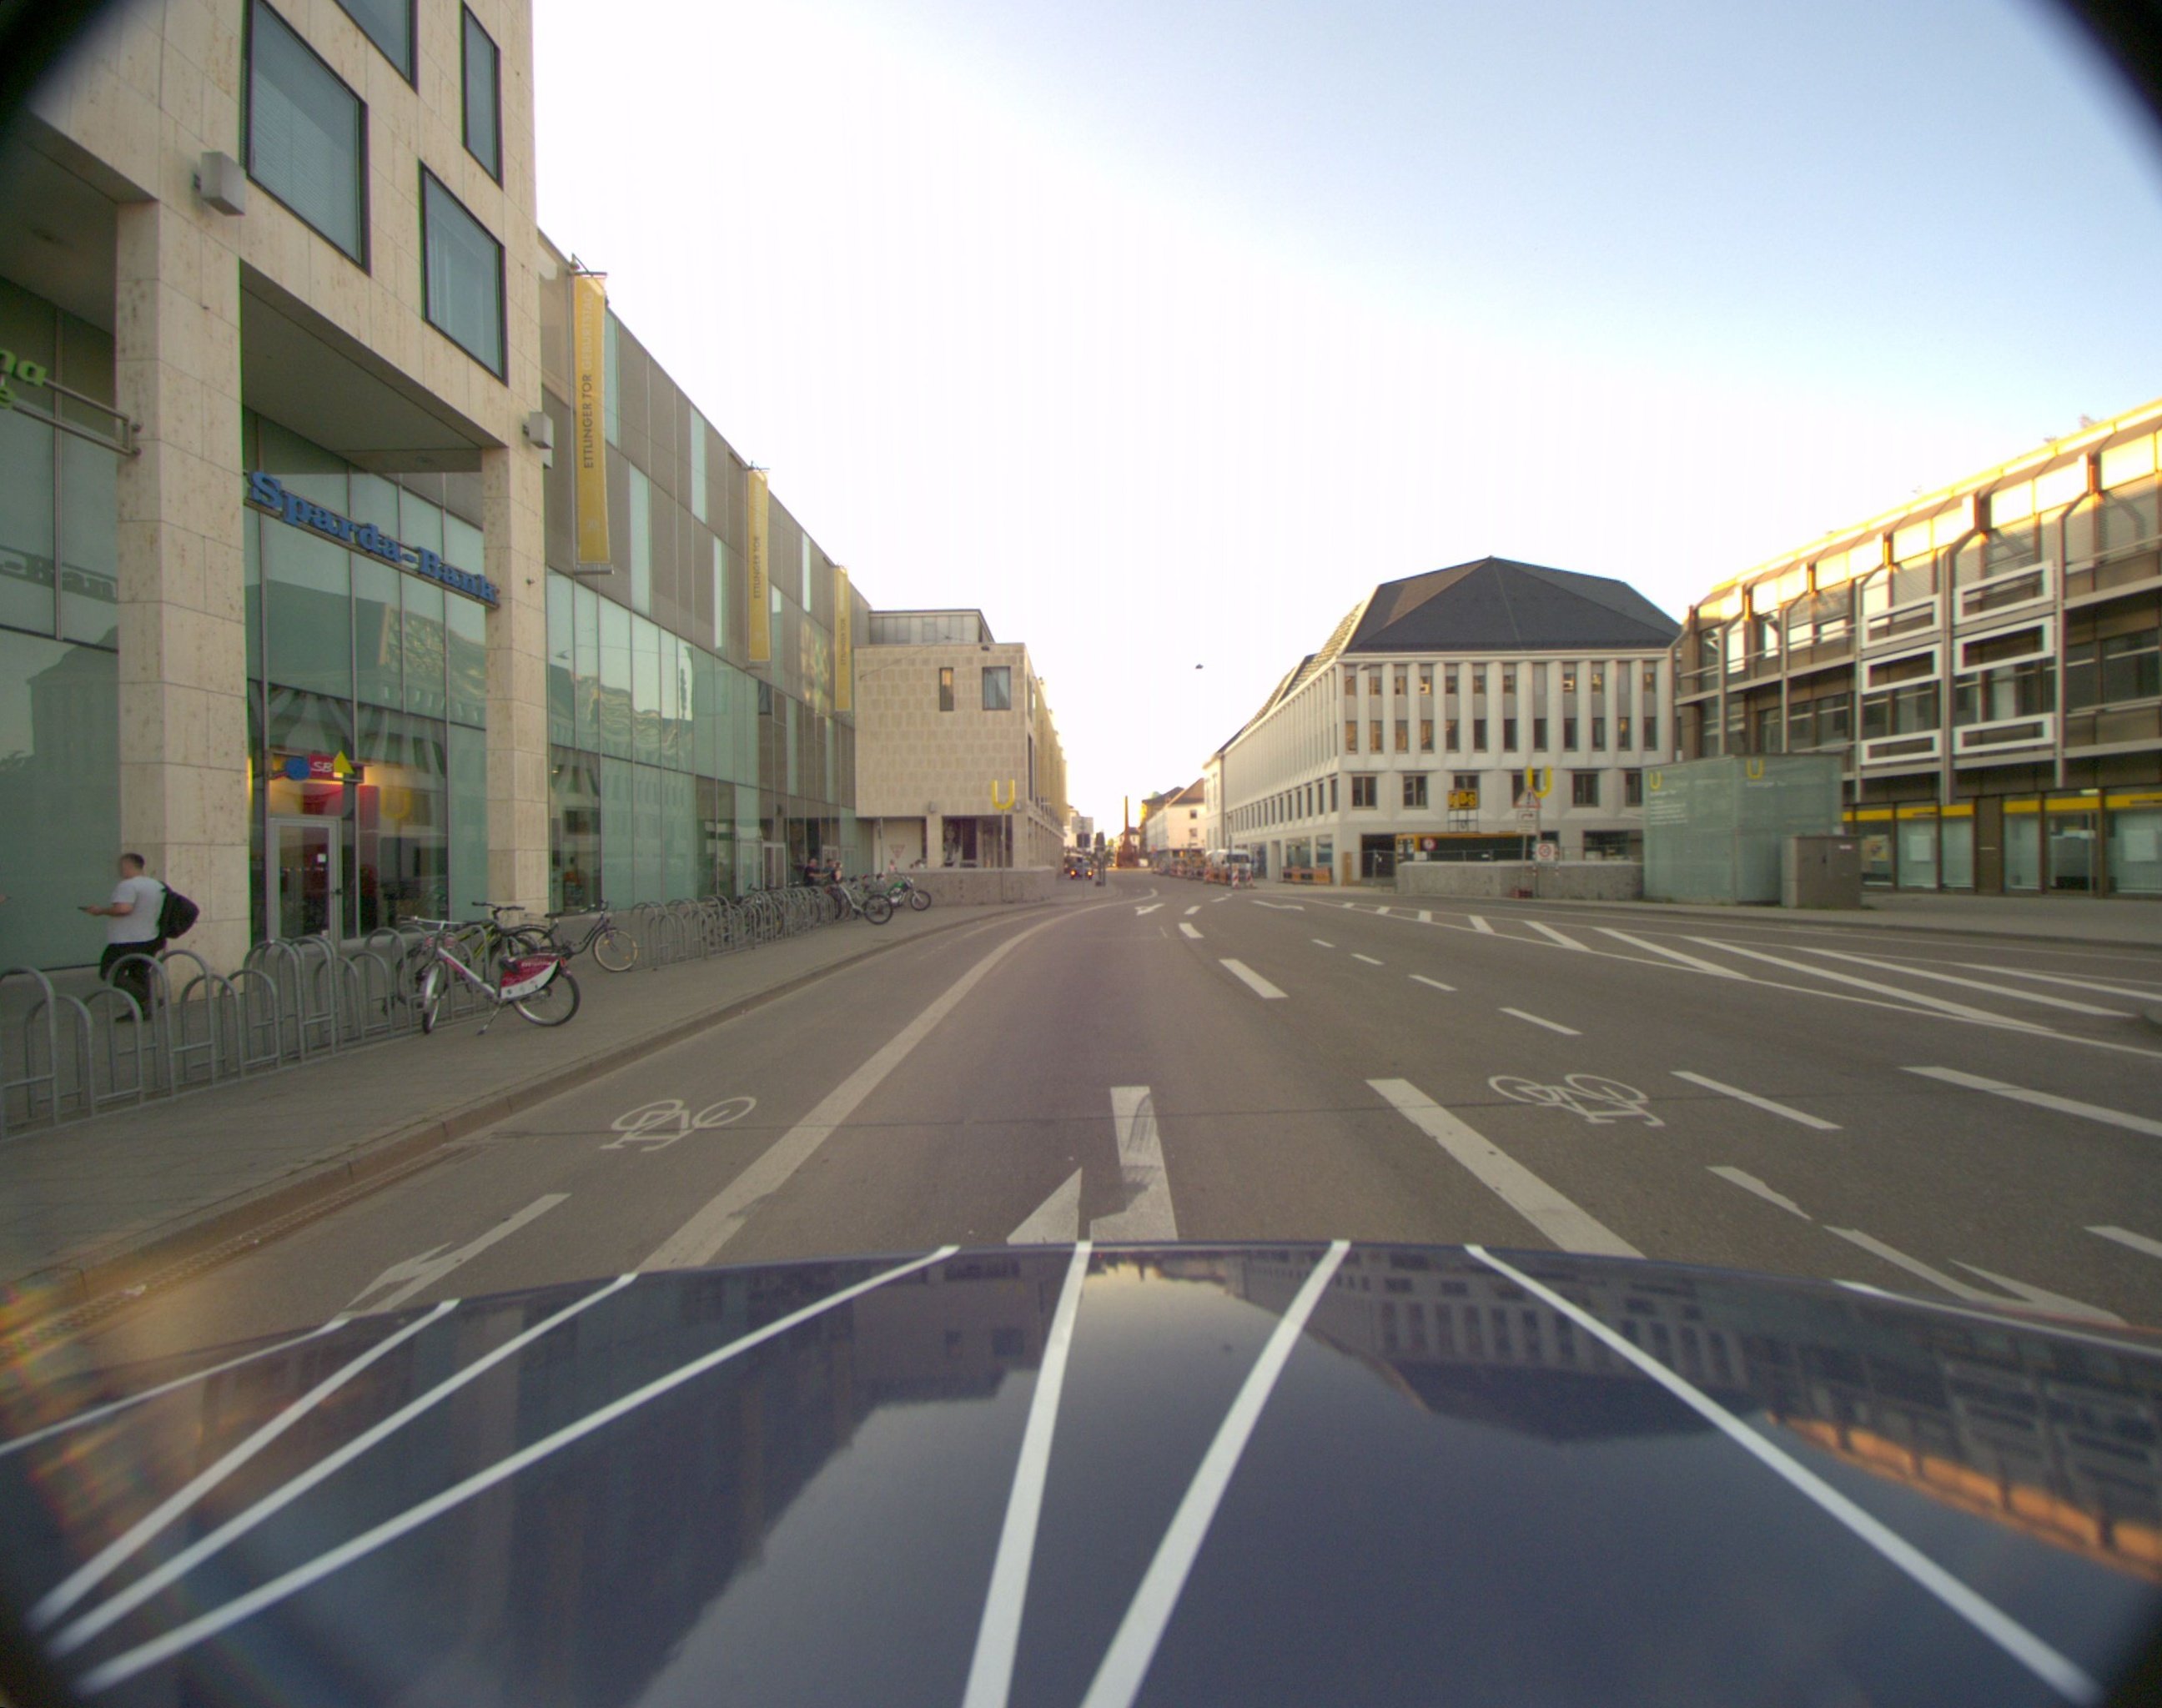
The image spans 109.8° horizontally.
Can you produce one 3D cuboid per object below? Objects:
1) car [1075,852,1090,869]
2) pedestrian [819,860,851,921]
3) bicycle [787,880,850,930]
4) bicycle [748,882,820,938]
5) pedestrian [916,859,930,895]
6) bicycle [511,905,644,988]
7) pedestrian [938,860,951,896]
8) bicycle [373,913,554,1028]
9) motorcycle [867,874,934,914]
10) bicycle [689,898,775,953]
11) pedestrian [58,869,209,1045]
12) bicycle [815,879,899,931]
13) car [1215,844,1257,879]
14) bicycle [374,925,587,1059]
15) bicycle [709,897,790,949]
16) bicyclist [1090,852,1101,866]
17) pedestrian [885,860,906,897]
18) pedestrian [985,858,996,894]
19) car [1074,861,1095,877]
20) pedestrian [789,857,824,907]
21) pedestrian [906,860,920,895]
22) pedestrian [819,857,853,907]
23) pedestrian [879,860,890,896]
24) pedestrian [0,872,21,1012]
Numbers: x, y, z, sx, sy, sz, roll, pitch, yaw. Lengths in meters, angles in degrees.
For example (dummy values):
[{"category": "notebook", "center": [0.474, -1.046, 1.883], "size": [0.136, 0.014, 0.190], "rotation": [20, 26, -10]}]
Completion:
[{"category": "car", "center": [0.166, 0.845, 100.162], "size": [1.798, 2.198, 3.671], "rotation": [-1, 0, 2]}, {"category": "pedestrian", "center": [-6.764, 0.998, 20.912], "size": [0.809, 1.633, 0.646], "rotation": [-1, 0, -18]}, {"category": "bicycle", "center": [-6.599, 1.274, 19.159], "size": [1.345, 1.157, 0.518], "rotation": [-3, 0, -1]}, {"category": "bicycle", "center": [-6.655, 1.247, 17.074], "size": [1.345, 1.157, 0.518], "rotation": [-3, 0, -1]}, {"category": "pedestrian", "center": [-7.603, 1.109, 36.562], "size": [0.494, 1.733, 0.657], "rotation": [-1, 0, 3]}, {"category": "bicycle", "center": [-7.298, 1.326, 11.069], "size": [1.447, 1.058, 0.580], "rotation": [-3, 0, -10]}, {"category": "pedestrian", "center": [-6.762, 1.186, 37.606], "size": [0.504, 1.733, 0.493], "rotation": [-1, 0, 3]}, {"category": "bicycle", "center": [-6.794, 1.270, 8.388], "size": [1.518, 1.117, 0.581], "rotation": [-3, 0, 4]}, {"category": "motorcycle", "center": [-5.706, 1.249, 24.081], "size": [2.007, 1.217, 0.480], "rotation": [-1, 0, -2]}, {"category": "bicycle", "center": [-6.650, 1.354, 14.500], "size": [1.345, 0.927, 0.518], "rotation": [-3, 0, -1]}, {"category": "pedestrian", "center": [-9.546, 1.006, 7.679], "size": [0.707, 1.682, 0.629], "rotation": [-1, 0, 0]}, {"category": "bicycle", "center": [-5.385, 1.228, 18.316], "size": [1.838, 1.140, 0.466], "rotation": [-3, 0, 1]}, {"category": "car", "center": [11.991, 0.586, 59.159], "size": [2.141, 2.540, 6.050], "rotation": [-1, 0, 1]}, {"category": "bicycle", "center": [-5.394, 1.230, 6.863], "size": [1.518, 1.057, 0.466], "rotation": [-3, 0, 1]}, {"category": "bicycle", "center": [-6.592, 1.363, 15.145], "size": [1.345, 0.927, 0.518], "rotation": [-3, 0, -1]}, {"category": "bicyclist", "center": [2.407, 0.845, 129.709], "size": [1.549, 2.391, 1.207], "rotation": [-1, 0, 17]}, {"category": "pedestrian", "center": [-8.813, 1.162, 36.116], "size": [0.793, 1.733, 0.657], "rotation": [-1, 0, 3]}, {"category": "pedestrian", "center": [-4.338, 1.049, 36.458], "size": [0.454, 1.733, 0.493], "rotation": [-1, 0, 3]}, {"category": "car", "center": [0.338, 1.293, 67.774], "size": [1.798, 1.365, 3.671], "rotation": [-1, 0, 2]}, {"category": "pedestrian", "center": [-9.288, 0.939, 25.732], "size": [0.739, 1.638, 0.822], "rotation": [0, 0, 30]}, {"category": "pedestrian", "center": [-8.310, 1.163, 37.583], "size": [0.494, 1.733, 0.549], "rotation": [-1, 0, 3]}, {"category": "pedestrian", "center": [-8.343, 0.934, 25.862], "size": [0.697, 1.686, 0.822], "rotation": [0, 0, 30]}, {"category": "pedestrian", "center": [-9.440, 1.147, 36.503], "size": [0.364, 1.733, 0.452], "rotation": [-1, 0, 3]}, {"category": "pedestrian", "center": [-12.992, 1.034, 8.724], "size": [0.629, 1.642, 0.708], "rotation": [-1, 0, 2]}]
